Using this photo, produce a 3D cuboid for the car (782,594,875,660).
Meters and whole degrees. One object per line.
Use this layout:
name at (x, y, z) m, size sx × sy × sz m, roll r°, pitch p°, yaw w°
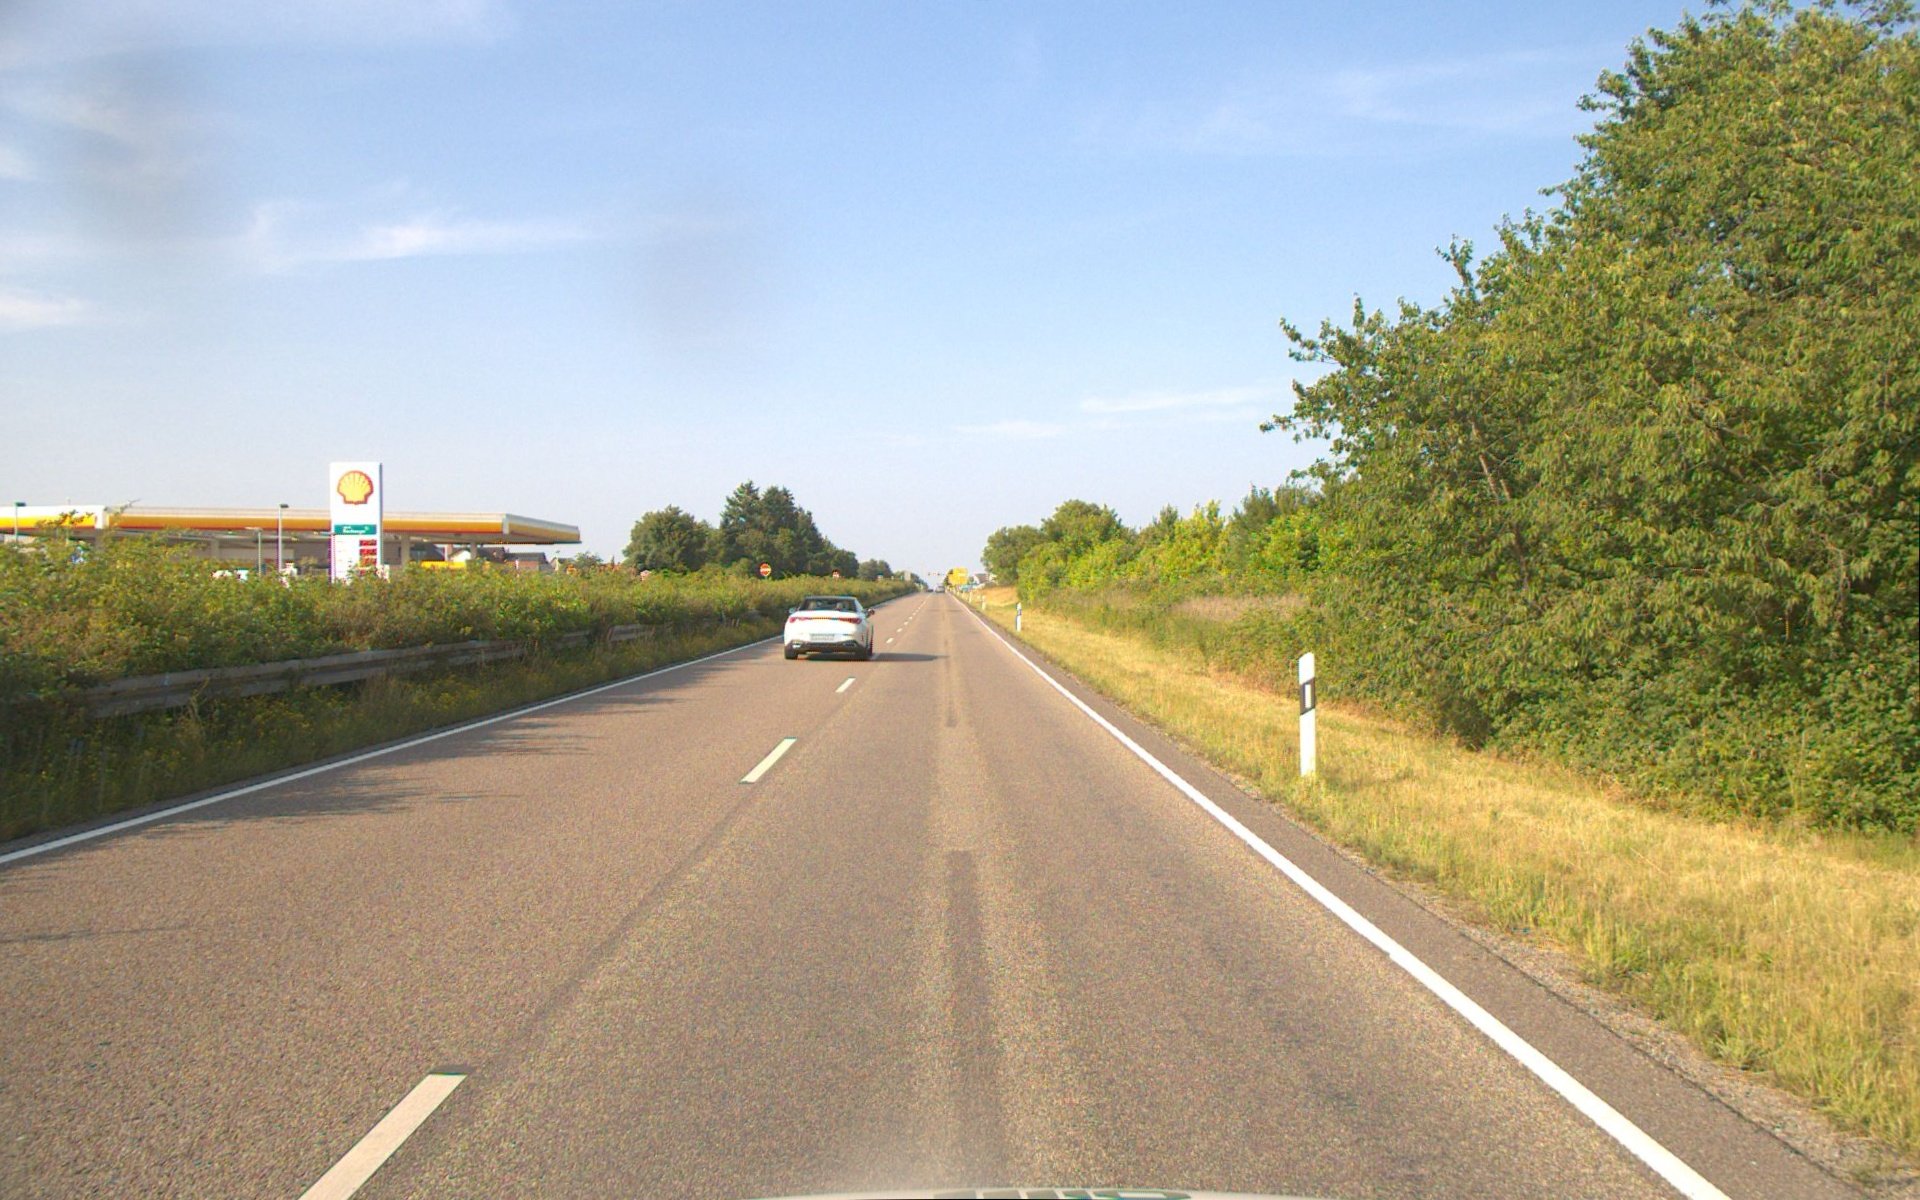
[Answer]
car at (-2.922, 0.581, 37.703) m, size 1.735 × 1.361 × 4.949 m, roll 1°, pitch 0°, yaw 0°
